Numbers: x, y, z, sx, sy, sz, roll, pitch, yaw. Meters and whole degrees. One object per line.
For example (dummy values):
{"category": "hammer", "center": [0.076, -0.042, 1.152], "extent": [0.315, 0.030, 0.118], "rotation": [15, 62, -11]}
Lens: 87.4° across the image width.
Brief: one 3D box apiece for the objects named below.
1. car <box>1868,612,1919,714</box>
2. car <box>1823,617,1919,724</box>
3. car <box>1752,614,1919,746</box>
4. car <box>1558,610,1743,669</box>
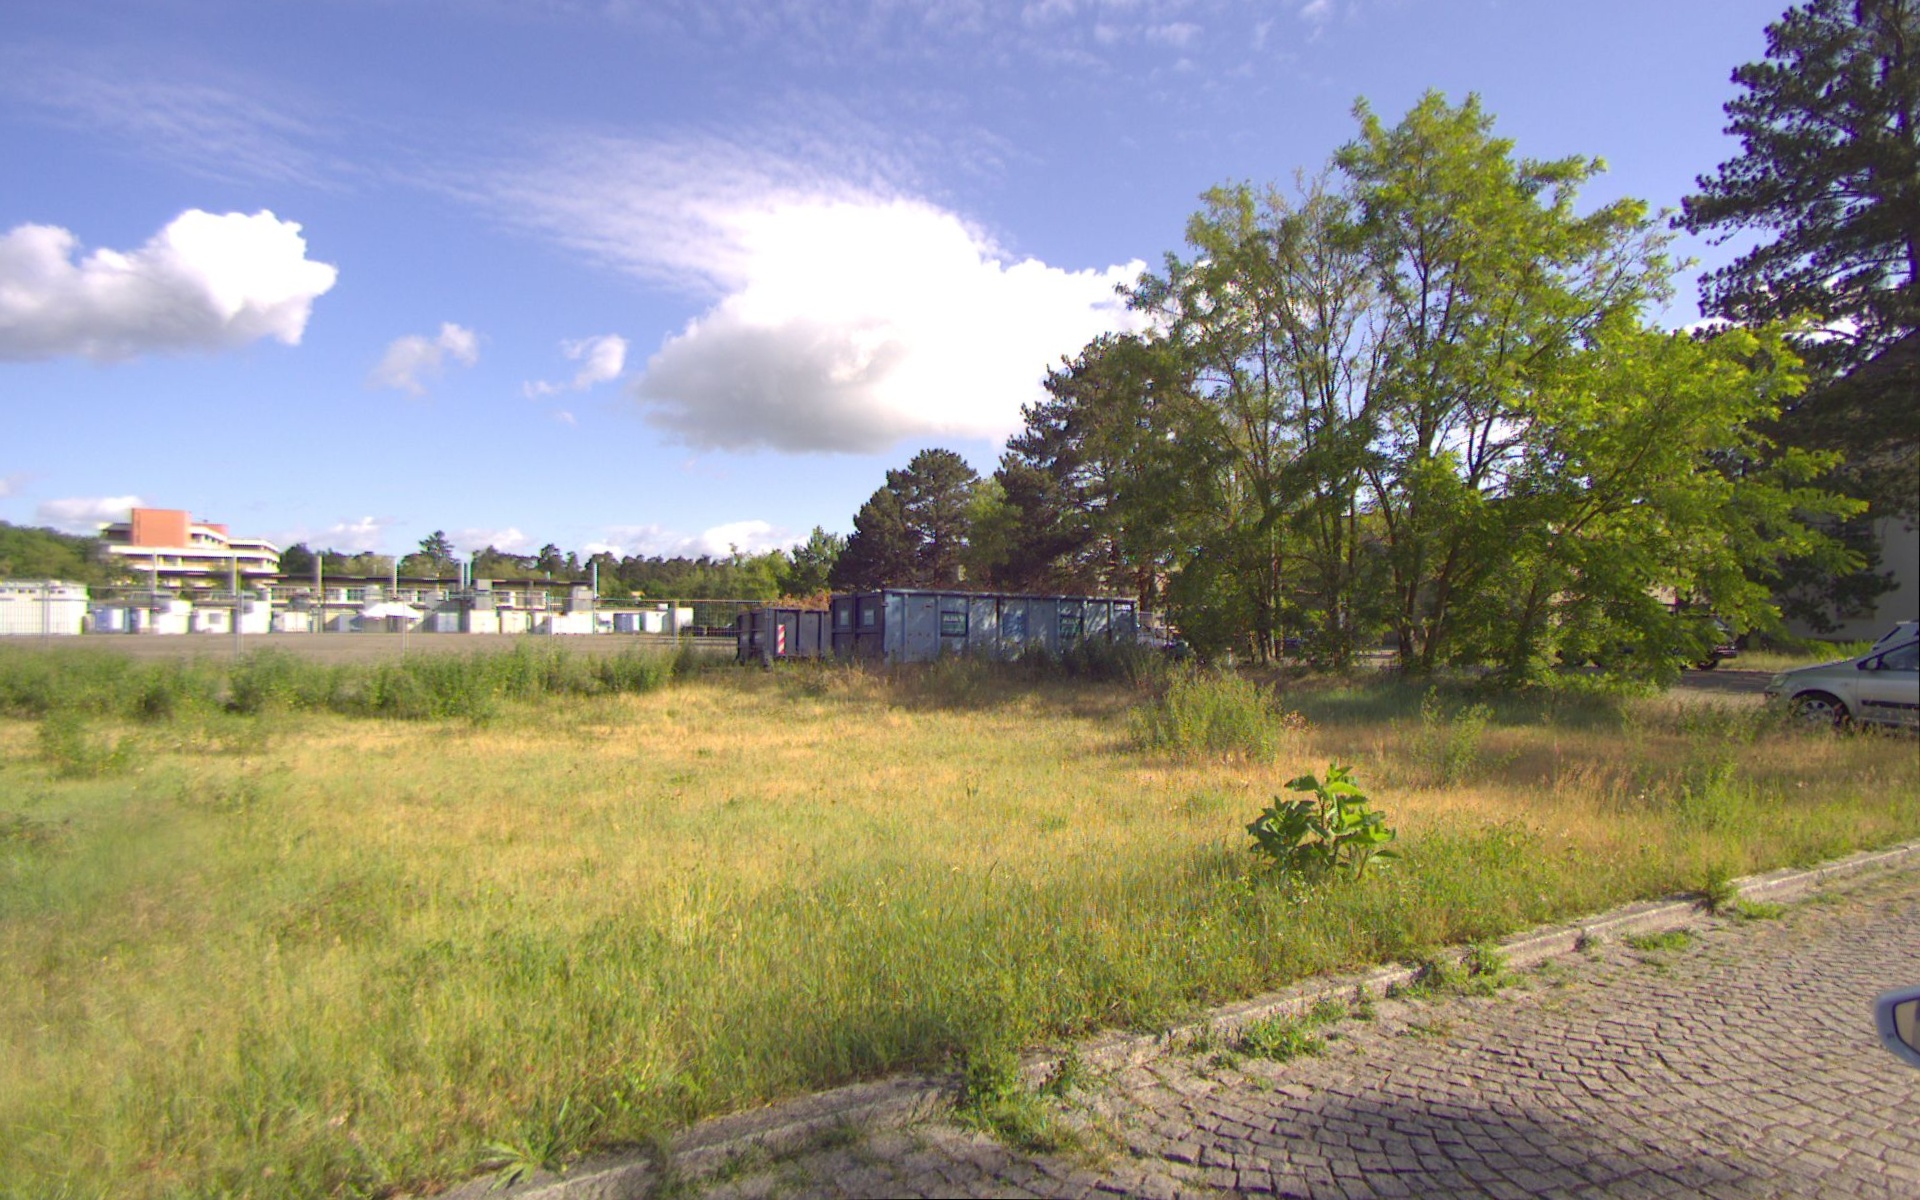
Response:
{"category": "car", "center": [17.019, 1.089, 15.696], "extent": [1.641, 1.637, 3.861], "rotation": [1, 1, -30]}
{"category": "car", "center": [14.830, 1.087, 13.972], "extent": [1.670, 1.464, 3.918], "rotation": [1, 2, -30]}
{"category": "car", "center": [12.552, 1.030, 12.657], "extent": [1.680, 1.548, 3.666], "rotation": [1, 1, -31]}
{"category": "car", "center": [20.453, 1.137, 29.953], "extent": [1.984, 1.630, 4.128], "rotation": [1, -1, -28]}
